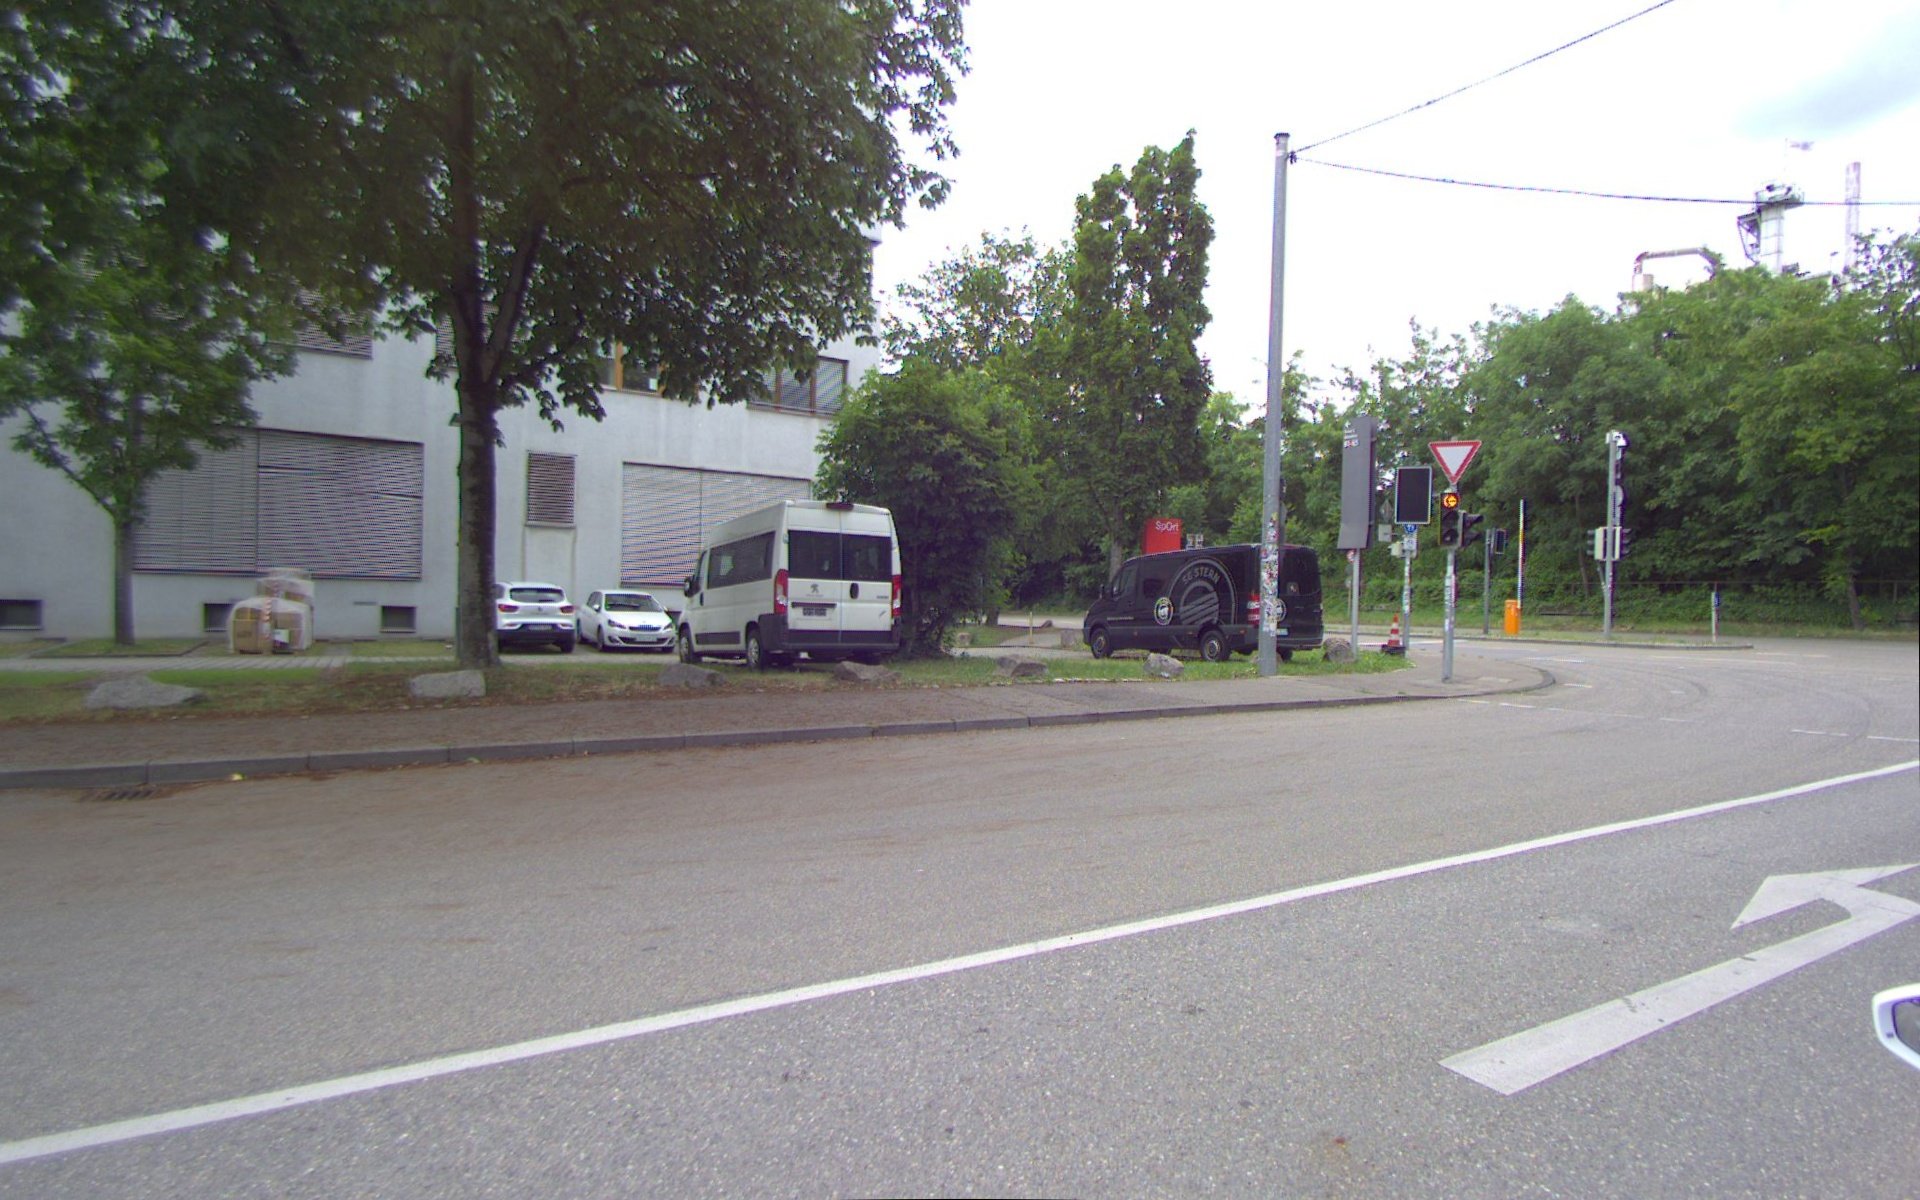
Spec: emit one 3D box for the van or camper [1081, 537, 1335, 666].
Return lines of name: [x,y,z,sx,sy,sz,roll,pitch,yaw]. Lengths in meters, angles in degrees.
van or camper: [5.007,0.127,21.254,2.036,2.343,5.513,3,-3,-28]

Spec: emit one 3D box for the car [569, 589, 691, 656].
car: [-8.480,0.531,25.593,1.881,1.475,3.972,3,0,-34]

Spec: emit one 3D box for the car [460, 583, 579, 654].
car: [-10.579,0.407,23.973,1.881,1.475,3.972,3,0,-34]

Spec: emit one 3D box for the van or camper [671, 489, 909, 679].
van or camper: [-2.965,-0.234,16.436,2.039,2.604,4.943,3,0,-32]
